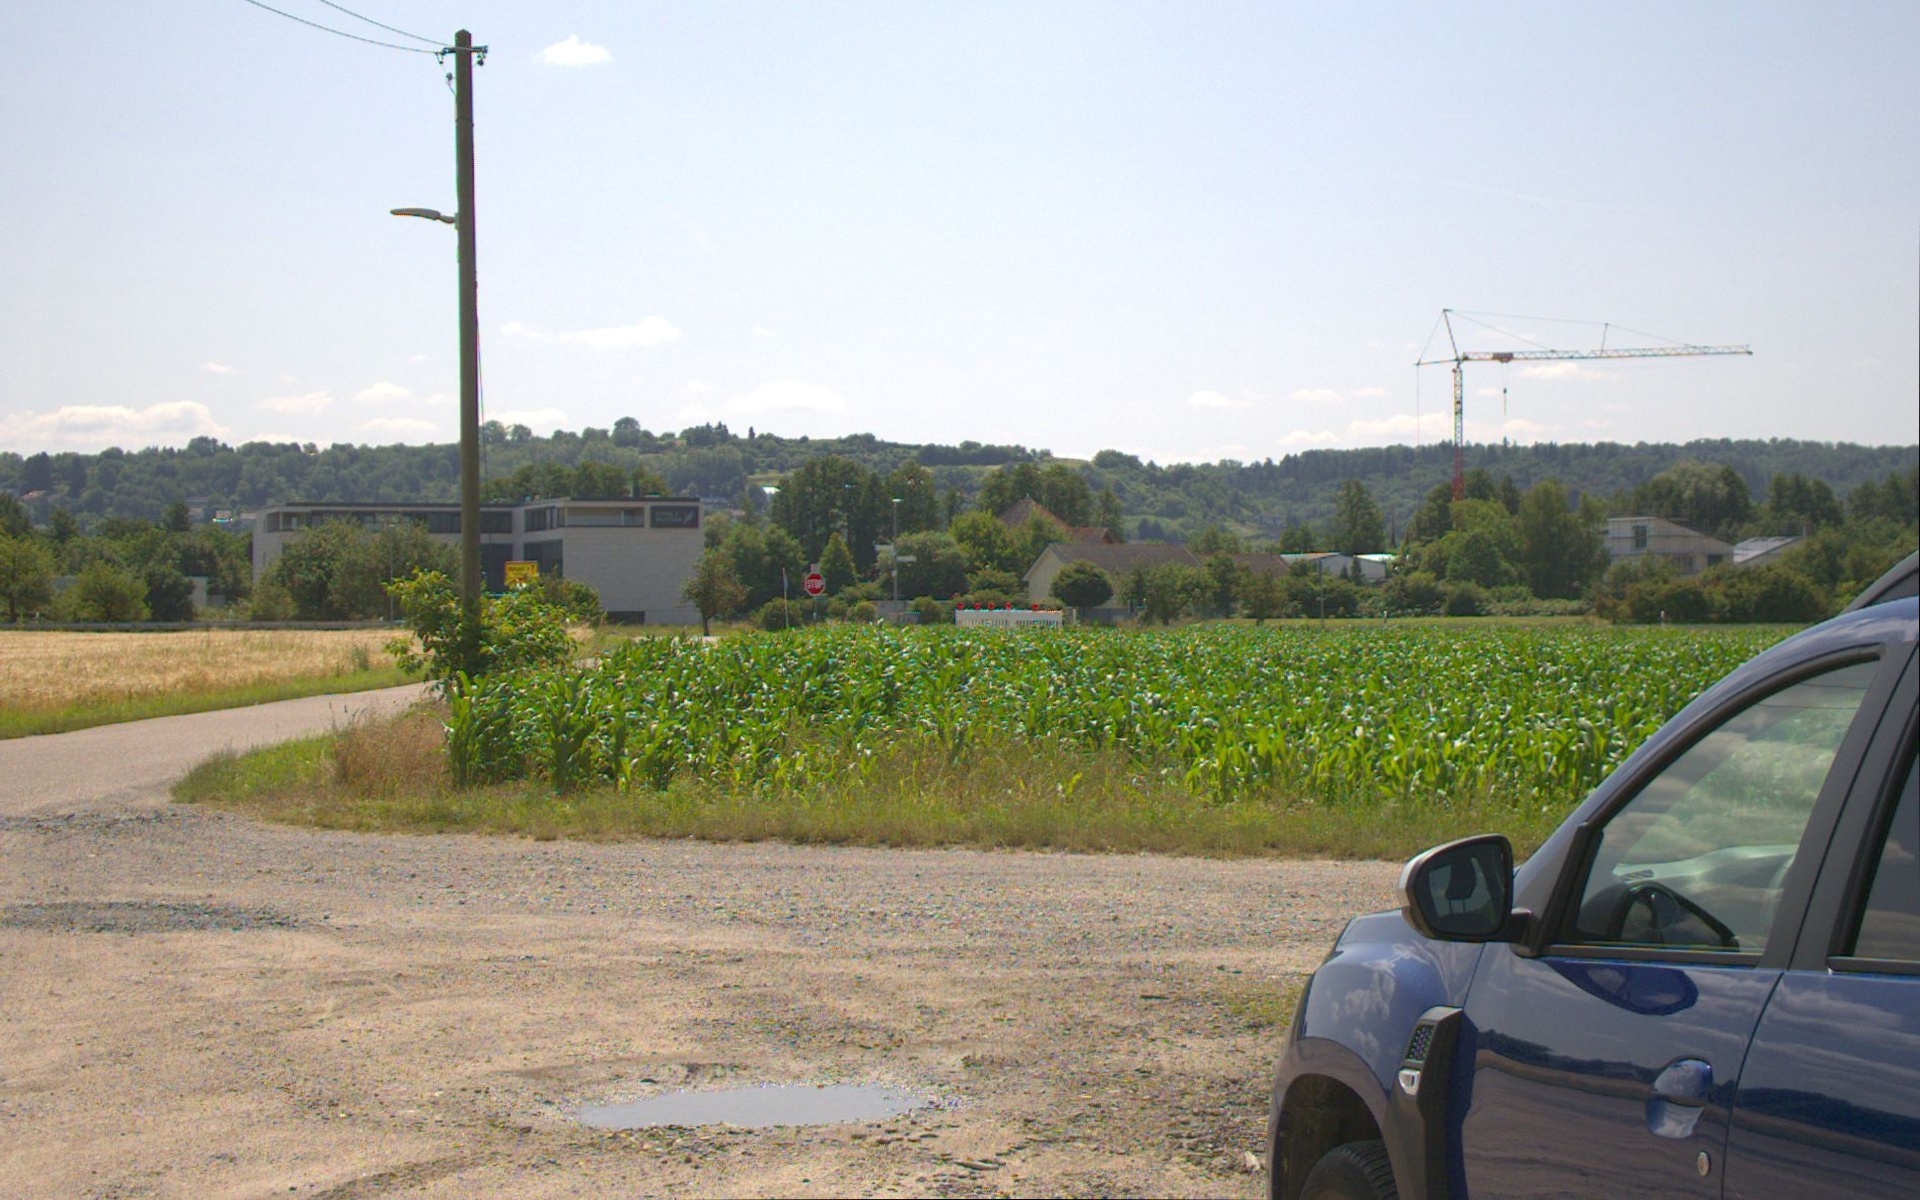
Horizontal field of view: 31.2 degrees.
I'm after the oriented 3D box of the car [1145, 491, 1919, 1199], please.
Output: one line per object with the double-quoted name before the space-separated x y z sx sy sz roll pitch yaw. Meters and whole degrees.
"car" 1.733 0.737 4.579 1.858 1.655 4.459 1 -1 -12
